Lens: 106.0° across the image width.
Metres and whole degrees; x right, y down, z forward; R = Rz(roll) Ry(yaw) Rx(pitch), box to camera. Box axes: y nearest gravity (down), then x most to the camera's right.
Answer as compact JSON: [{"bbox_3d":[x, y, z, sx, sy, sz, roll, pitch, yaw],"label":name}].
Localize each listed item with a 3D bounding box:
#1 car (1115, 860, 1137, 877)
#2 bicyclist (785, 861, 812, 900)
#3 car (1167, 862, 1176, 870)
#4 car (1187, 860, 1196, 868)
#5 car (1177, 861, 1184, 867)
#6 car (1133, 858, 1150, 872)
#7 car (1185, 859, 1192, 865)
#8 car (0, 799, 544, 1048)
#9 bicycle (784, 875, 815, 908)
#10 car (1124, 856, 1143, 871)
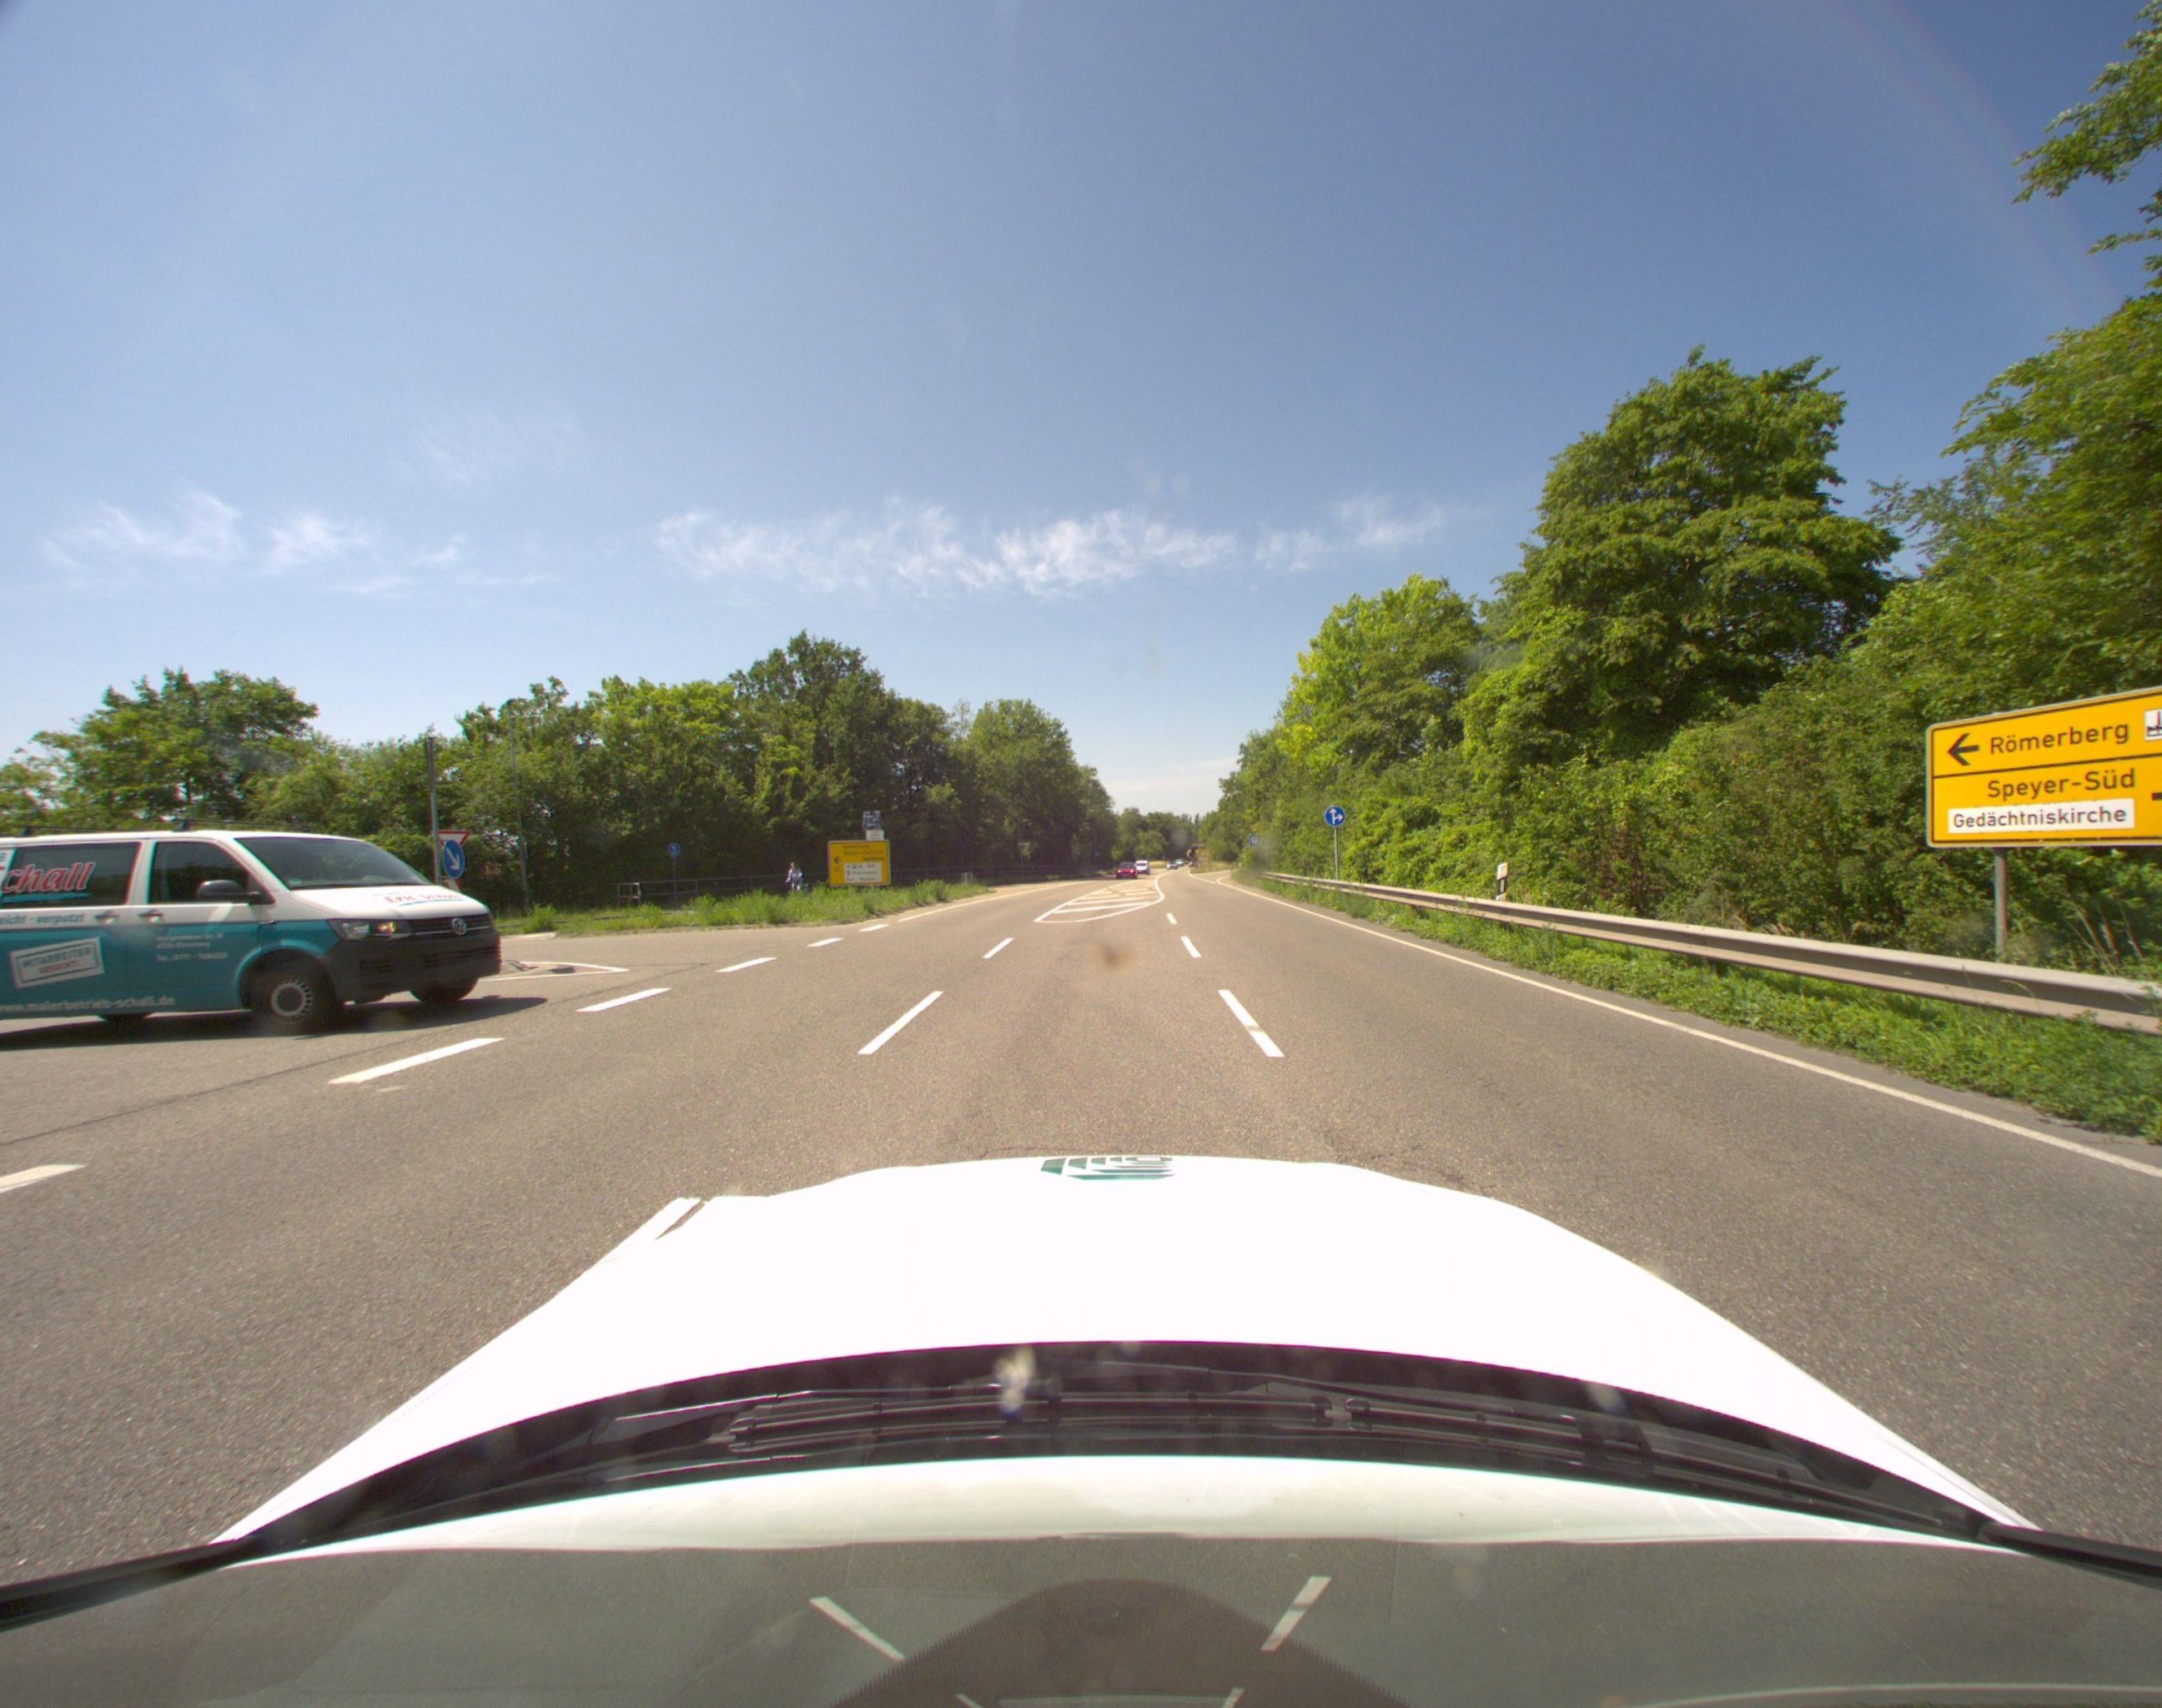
[{"bbox_3d":[3.920,1.263,71.555,1.803,1.458,3.759,-1,0,2],"label":"car"},{"bbox_3d":[-9.944,0.933,28.721,0.684,1.363,0.610,-1,-1,5],"label":"bicyclist"},{"bbox_3d":[19.063,2.552,171.106,1.668,1.527,4.008,-2,0,7],"label":"car"},{"bbox_3d":[26.657,2.365,196.098,1.832,1.684,4.011,-1,0,9],"label":"car"},{"bbox_3d":[25.932,2.594,211.386,1.710,1.528,3.718,-2,0,9],"label":"car"},{"bbox_3d":[7.677,1.397,103.806,1.984,1.730,4.281,-2,0,6],"label":"car"},{"bbox_3d":[33.158,2.457,251.215,1.709,1.509,3.719,-2,0,10],"label":"car"},{"bbox_3d":[-8.747,0.662,8.248,5.155,2.027,1.999,-3,0,-1],"label":"car"},{"bbox_3d":[-9.931,1.318,28.747,0.433,1.113,1.484,-1,-1,6],"label":"bicycle"},{"bbox_3d":[11.393,2.100,178.321,2.004,3.226,4.767,-1,0,-26],"label":"car"}]
